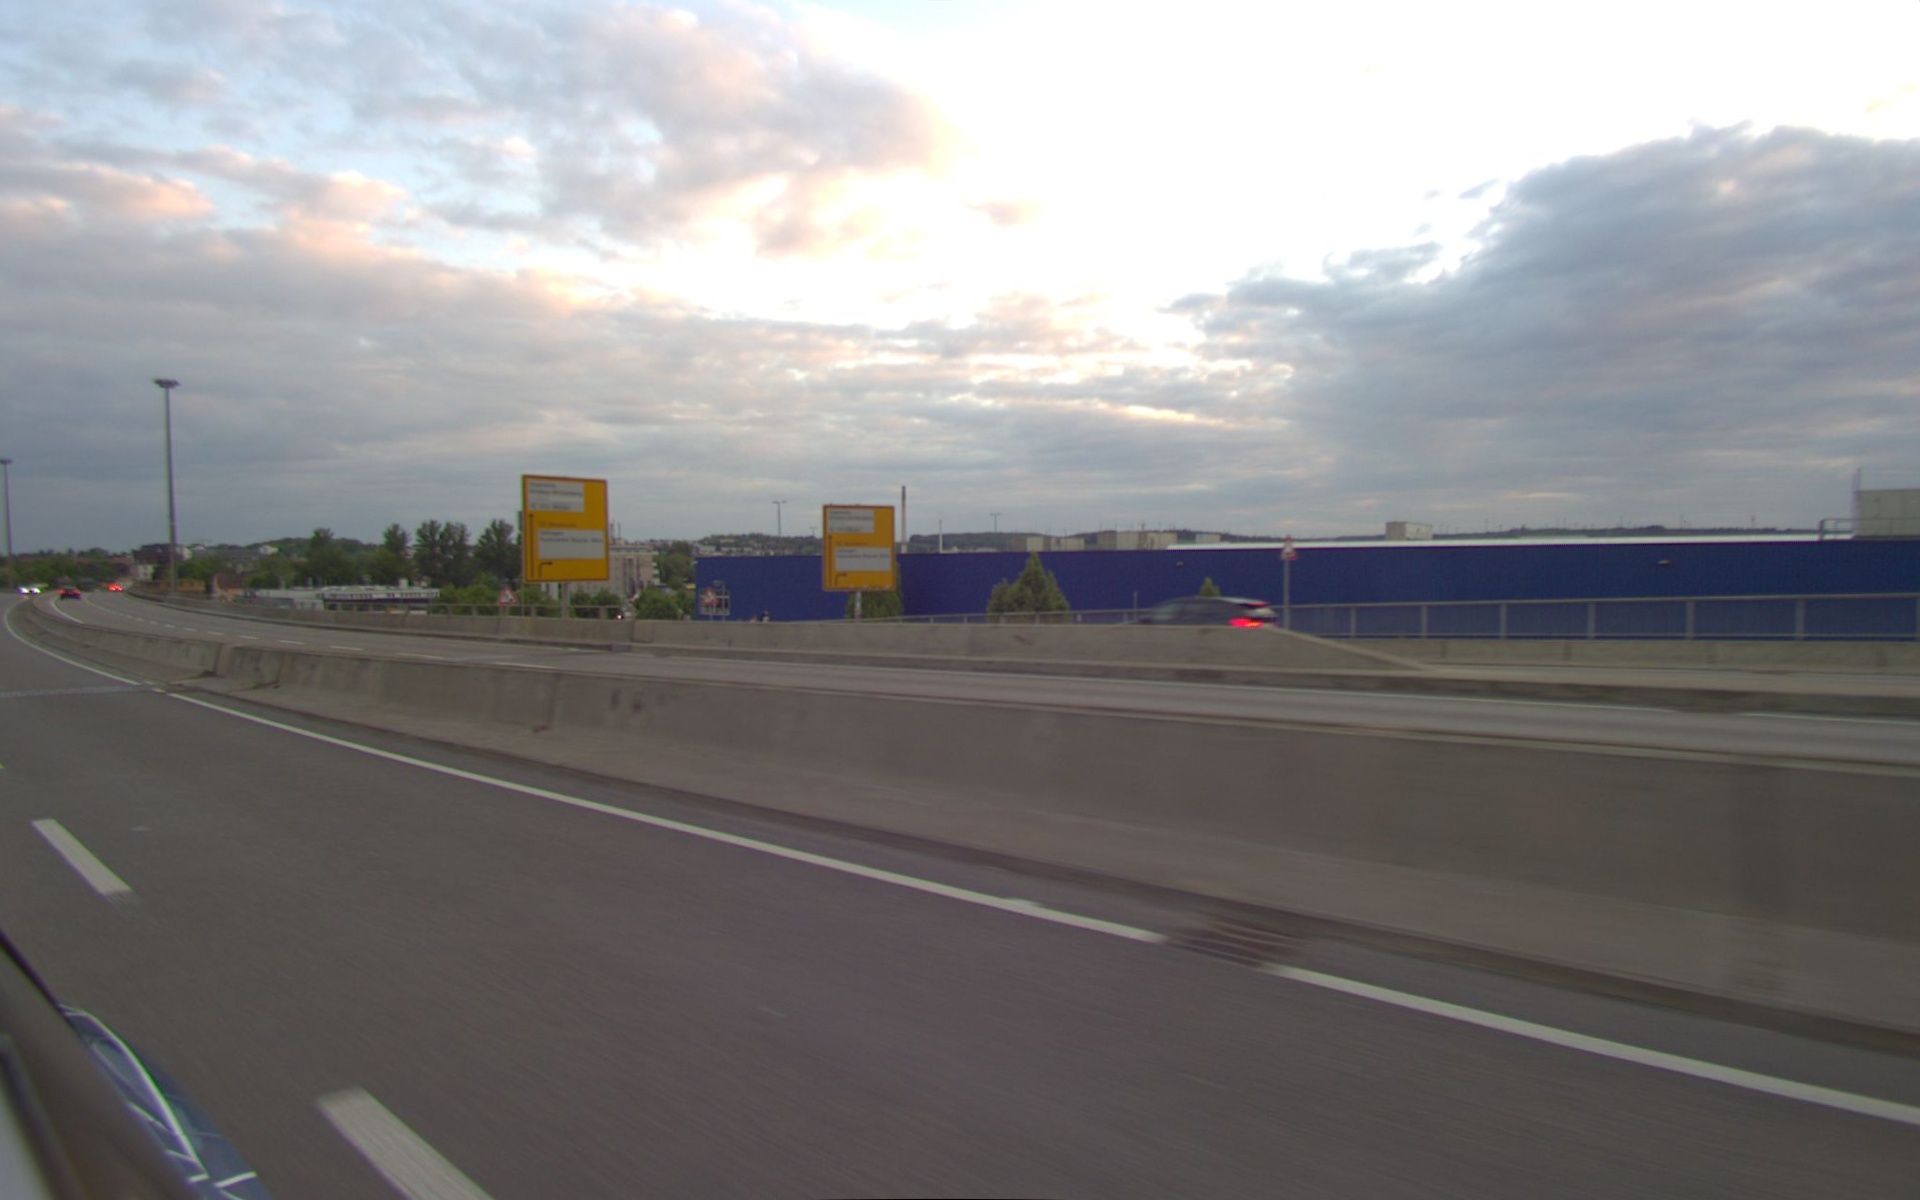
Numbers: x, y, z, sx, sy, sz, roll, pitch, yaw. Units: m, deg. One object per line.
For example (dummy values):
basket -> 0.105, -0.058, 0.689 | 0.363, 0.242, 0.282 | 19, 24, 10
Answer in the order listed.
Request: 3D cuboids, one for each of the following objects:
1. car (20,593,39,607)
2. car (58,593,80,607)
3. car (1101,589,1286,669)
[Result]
car -> -143.394, -0.036, 156.003 | 1.969, 2.029, 4.006 | -1, 1, -41
car -> -100.920, -0.002, 114.658 | 1.807, 1.491, 4.292 | -1, 1, -42
car -> 5.465, 0.656, 24.008 | 4.001, 1.730, 1.618 | -1, 0, 44
